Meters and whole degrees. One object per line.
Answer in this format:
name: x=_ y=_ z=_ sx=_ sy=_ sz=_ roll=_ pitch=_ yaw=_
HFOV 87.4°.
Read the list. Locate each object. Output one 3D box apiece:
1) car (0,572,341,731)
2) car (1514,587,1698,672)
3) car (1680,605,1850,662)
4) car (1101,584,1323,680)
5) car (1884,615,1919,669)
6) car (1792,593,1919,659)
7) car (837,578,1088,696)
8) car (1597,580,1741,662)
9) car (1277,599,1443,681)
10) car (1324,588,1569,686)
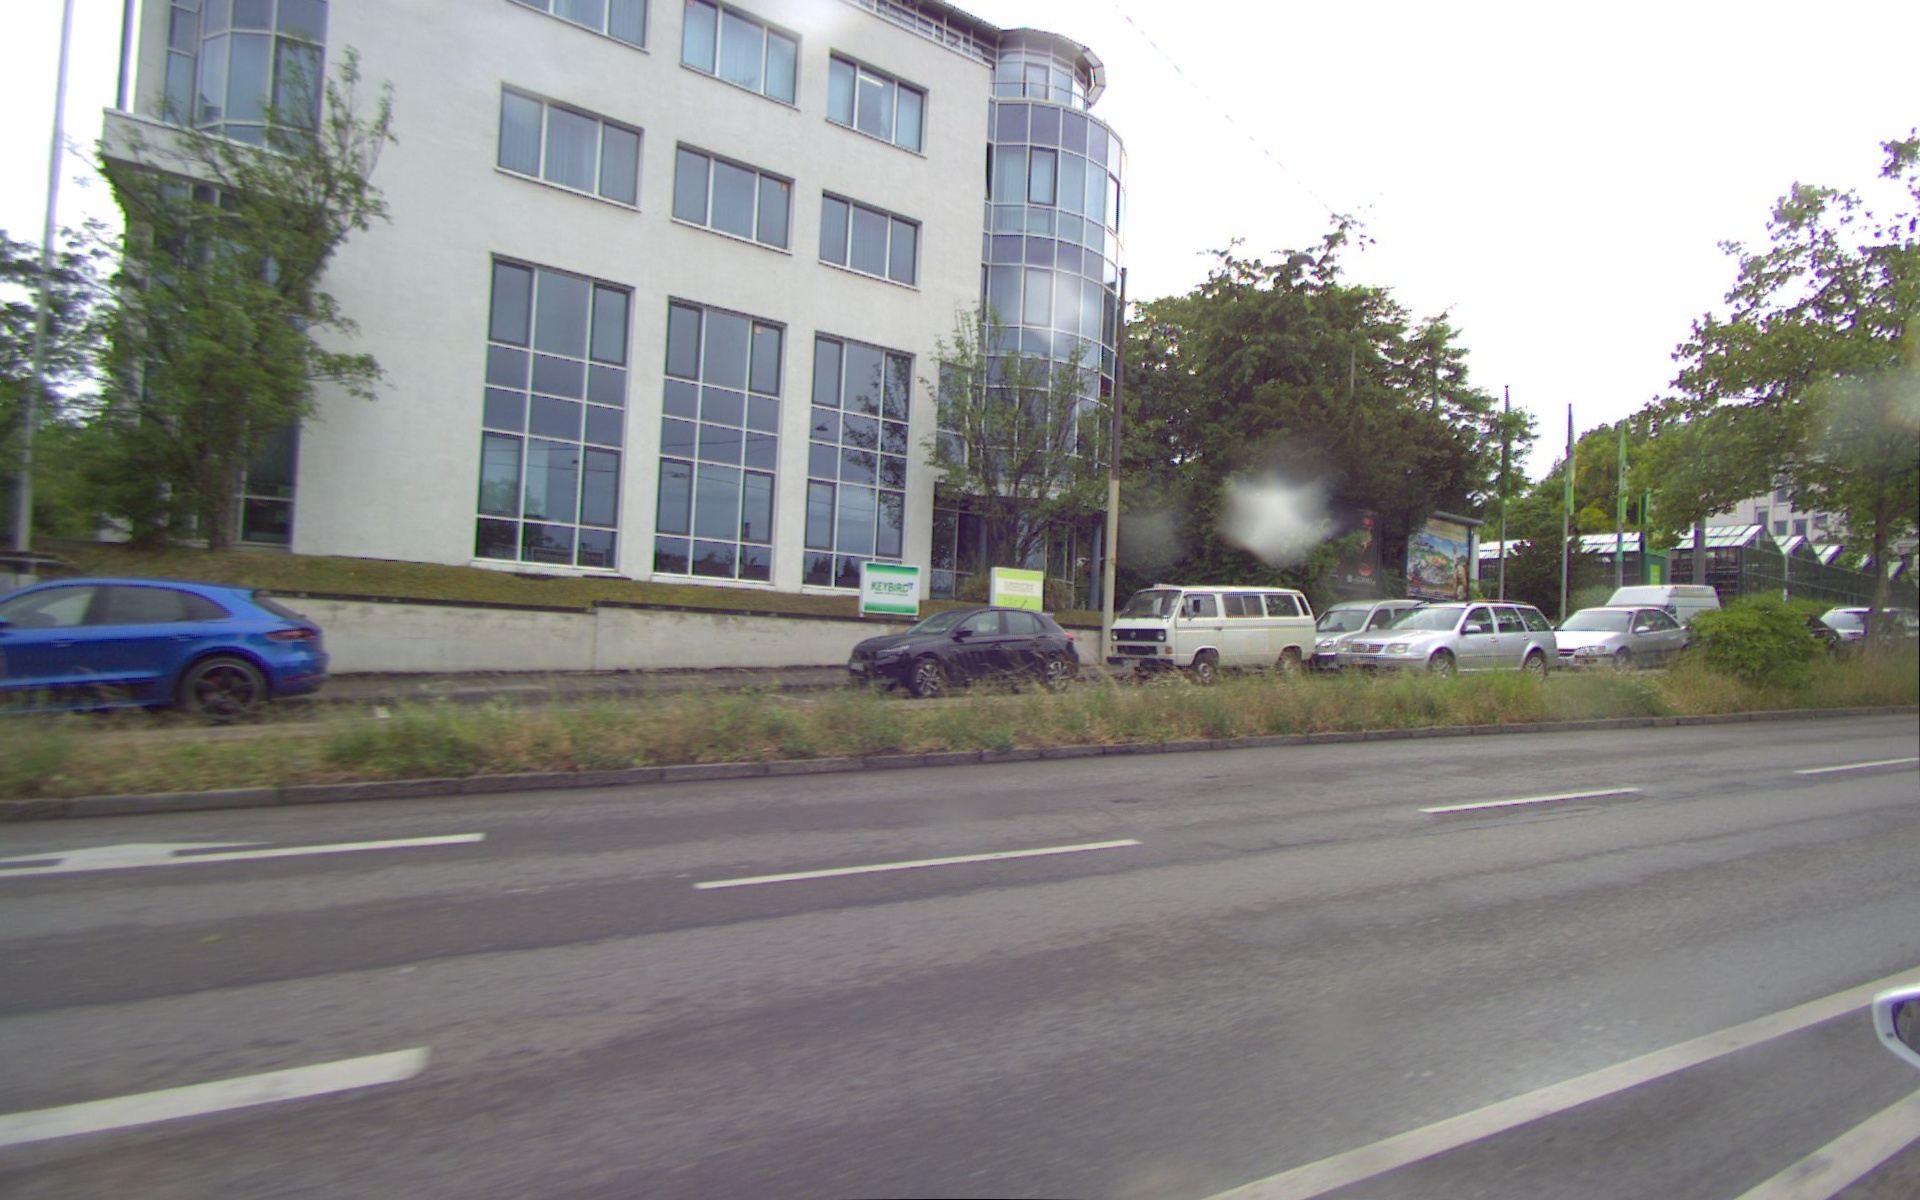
car: x=-9.363 y=0.526 z=10.764 sx=4.619 sy=1.554 sz=1.679 roll=1 pitch=-2 yaw=-32
car: x=13.073 y=0.584 z=20.285 sx=3.947 sy=1.560 sz=1.584 roll=1 pitch=-2 yaw=-32
car: x=18.678 y=0.779 z=23.282 sx=4.169 sy=1.221 sz=1.690 roll=2 pitch=-2 yaw=-30
car: x=5.193 y=0.630 z=20.509 sx=4.532 sy=1.769 sz=1.761 roll=1 pitch=-2 yaw=-32
car: x=27.752 y=1.245 z=28.480 sx=3.666 sy=1.413 sz=1.353 roll=4 pitch=-3 yaw=-31
car: x=23.155 y=0.693 z=25.835 sx=3.605 sy=1.471 sz=1.645 roll=4 pitch=-3 yaw=-31
car: x=0.084 y=0.588 z=16.668 sx=3.949 sy=1.744 sz=1.602 roll=1 pitch=-2 yaw=-32
car: x=22.952 y=0.682 z=32.433 sx=5.597 sy=2.476 sz=1.951 roll=1 pitch=-2 yaw=-34
car: x=9.061 y=0.878 z=22.705 sx=3.738 sy=1.718 sz=1.584 roll=1 pitch=-2 yaw=-32
car: x=8.416 y=0.609 z=17.272 sx=4.391 sy=1.497 sz=1.639 roll=1 pitch=-2 yaw=-30
